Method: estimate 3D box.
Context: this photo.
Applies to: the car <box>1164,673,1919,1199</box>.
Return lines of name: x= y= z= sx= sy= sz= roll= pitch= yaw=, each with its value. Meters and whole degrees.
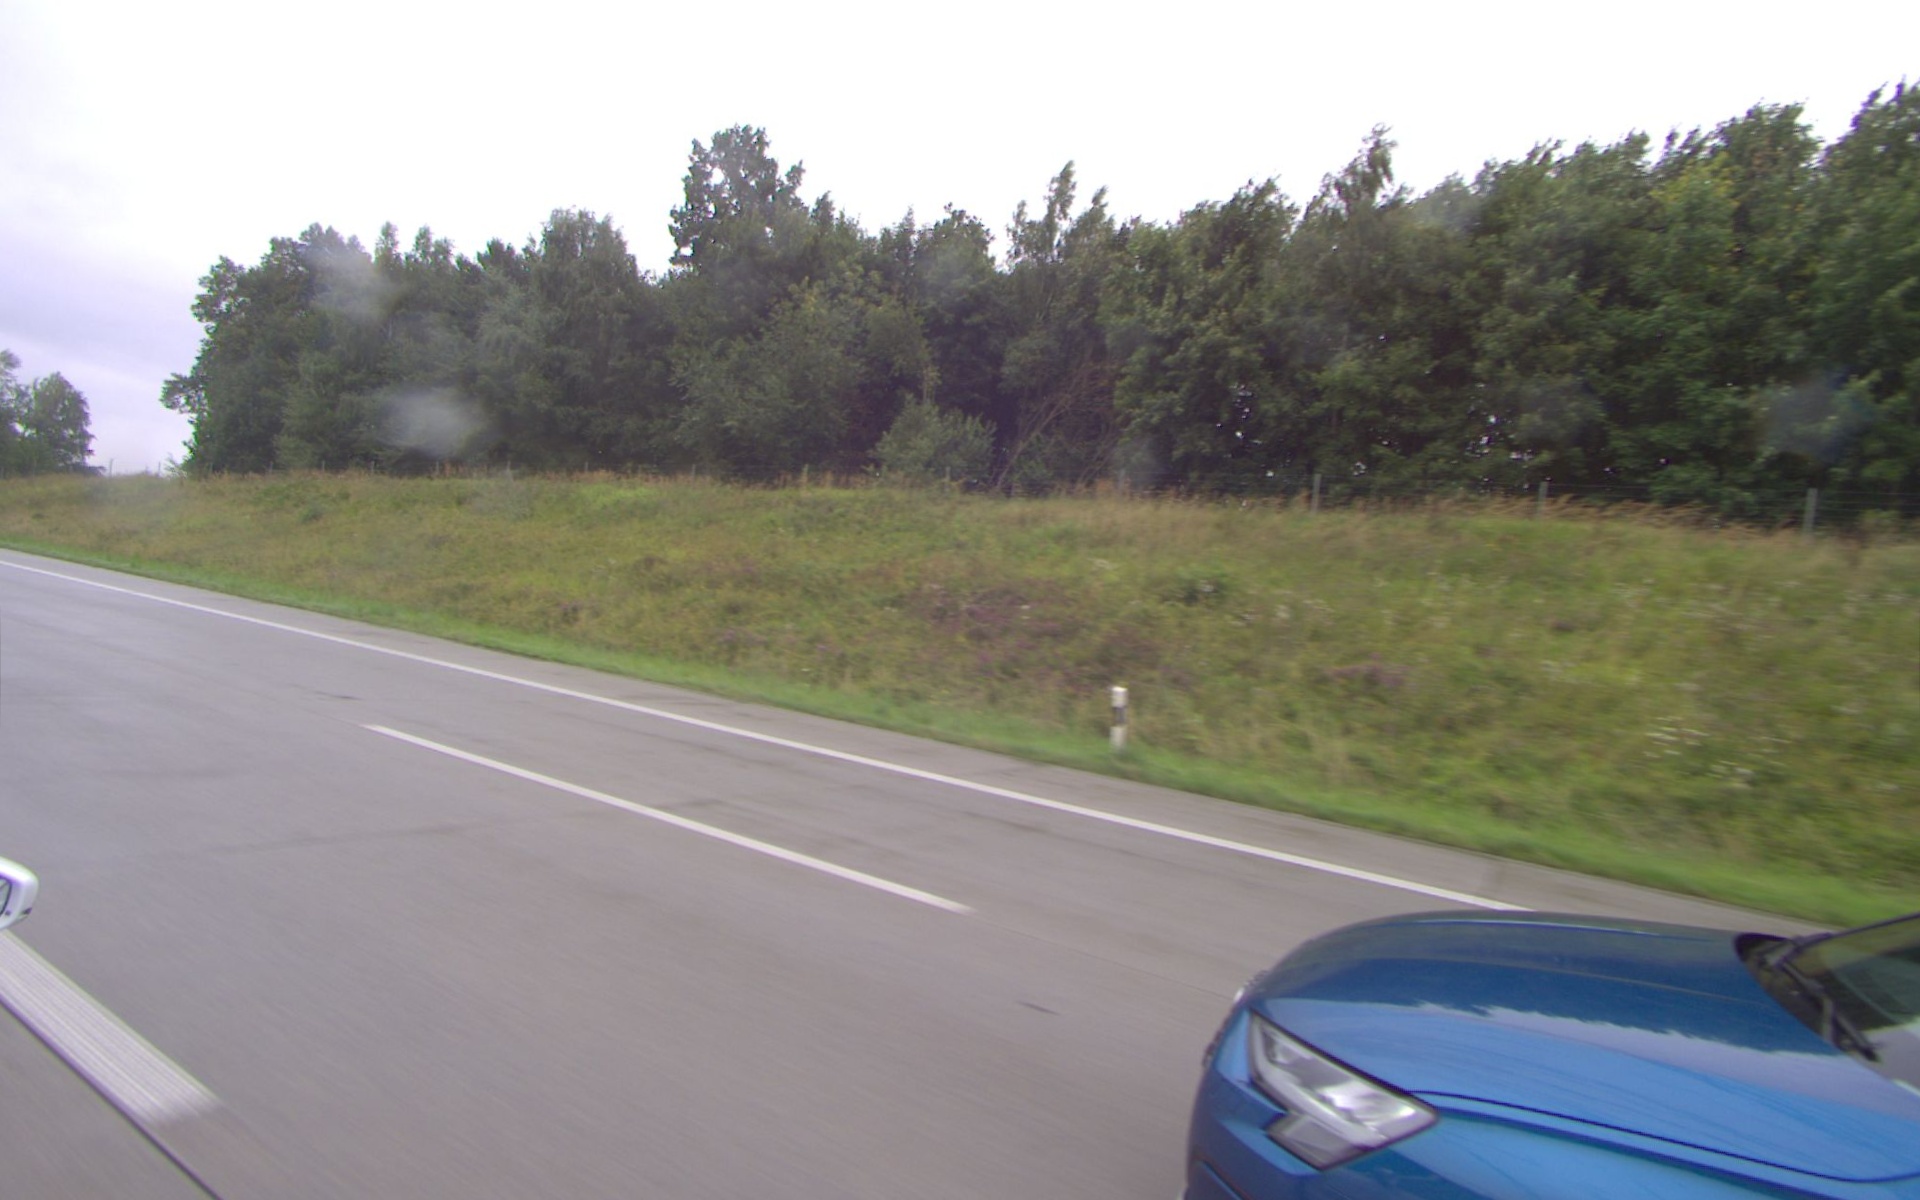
car: x=2.789 y=1.143 z=1.396 sx=4.595 sy=1.476 sz=1.731 roll=6 pitch=-1 yaw=32
